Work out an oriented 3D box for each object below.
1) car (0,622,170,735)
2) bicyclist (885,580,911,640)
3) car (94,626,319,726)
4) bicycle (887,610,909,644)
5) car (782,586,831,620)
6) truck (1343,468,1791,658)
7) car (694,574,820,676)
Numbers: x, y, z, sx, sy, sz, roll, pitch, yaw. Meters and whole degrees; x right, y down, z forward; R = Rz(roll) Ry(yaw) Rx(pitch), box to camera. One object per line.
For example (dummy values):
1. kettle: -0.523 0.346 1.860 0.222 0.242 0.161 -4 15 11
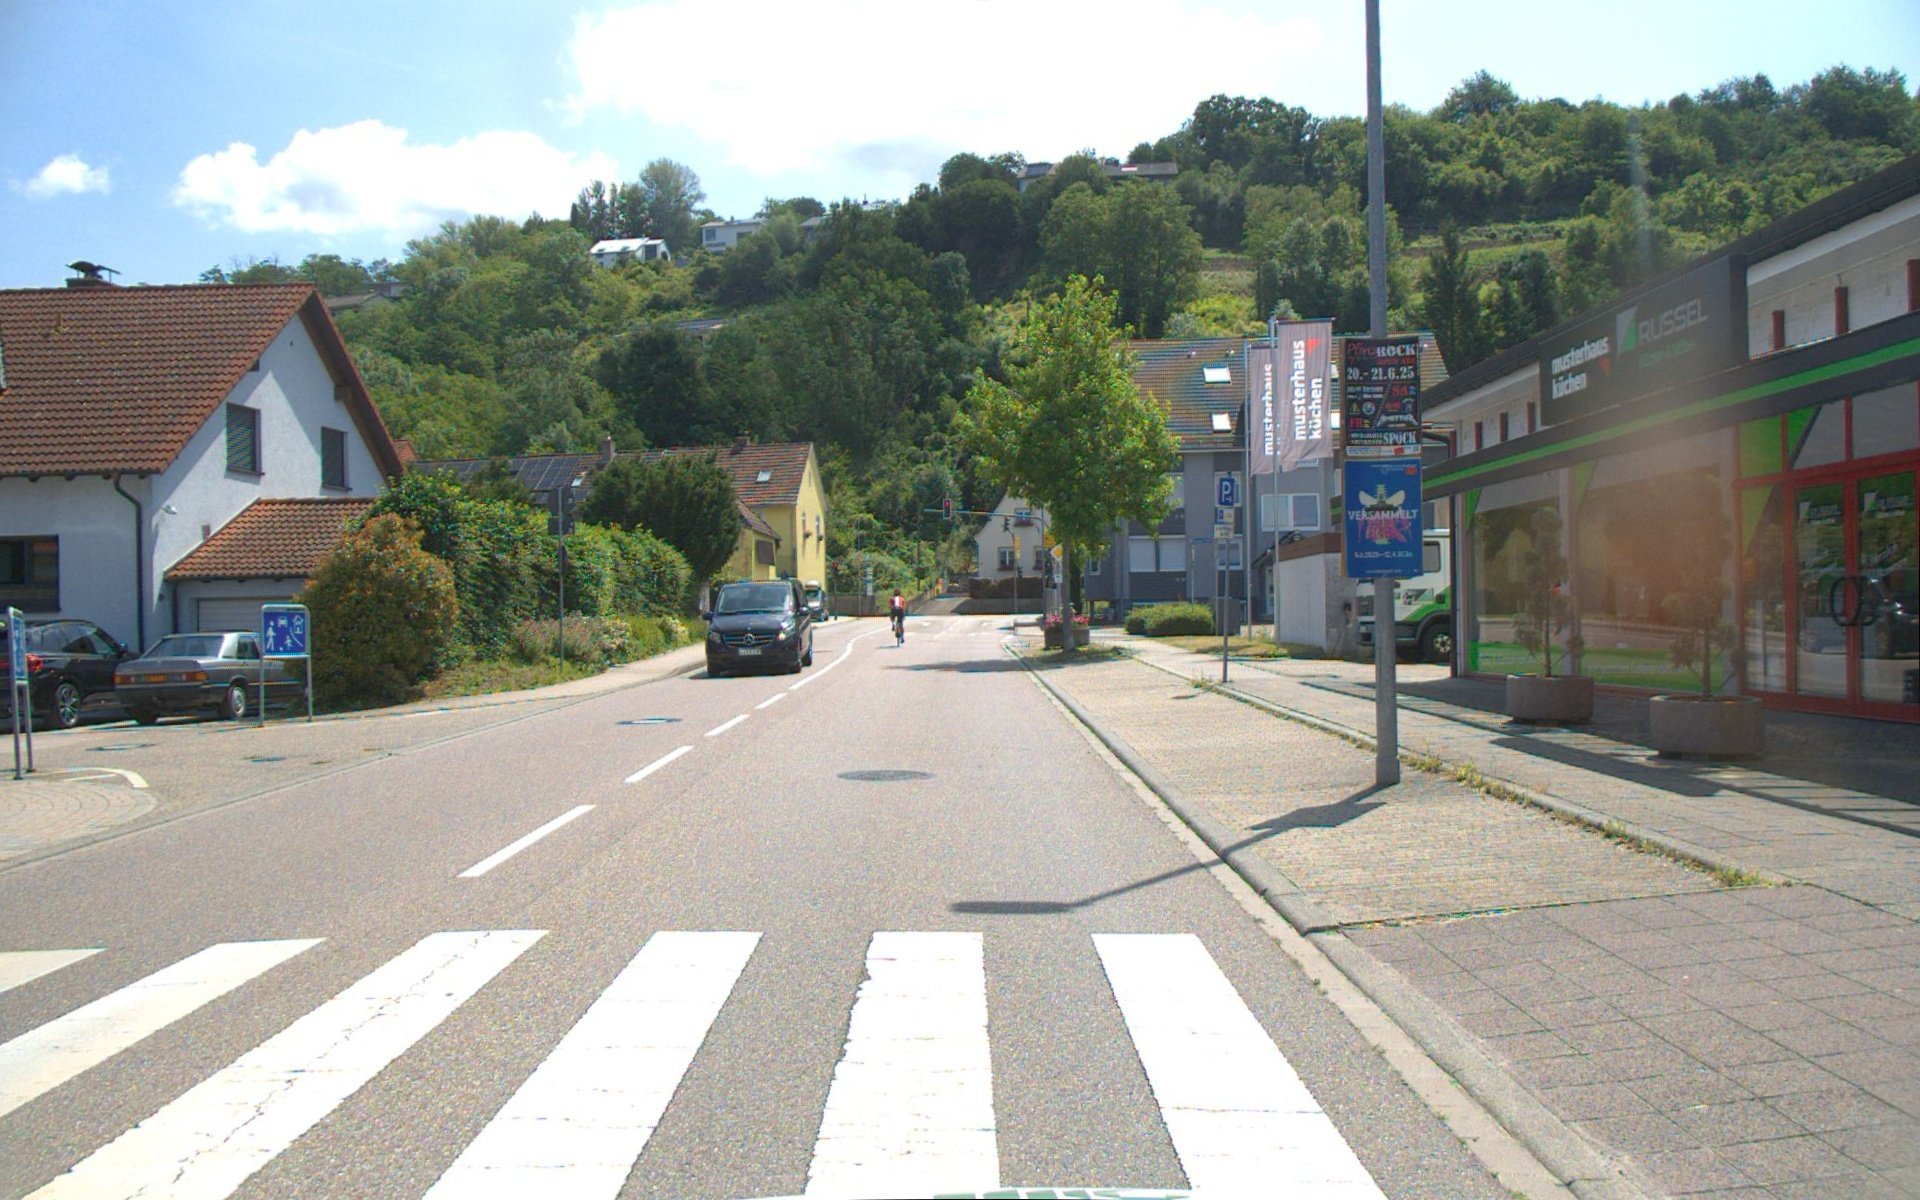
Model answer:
1. car: -14.473 1.214 26.444 1.730 1.577 3.999 -2 0 -1
2. bicyclist: -1.770 0.274 47.215 0.745 1.693 0.868 0 0 -3
3. car: -12.046 1.170 26.738 1.626 1.308 4.001 -3 0 2
4. bicycle: -1.778 0.757 47.257 0.617 0.920 1.656 0 0 -3
5. car: -7.902 0.132 85.677 1.952 1.664 4.631 1 0 2
6. truck: 12.027 -0.700 33.265 8.004 3.635 2.677 0 -1 -1
7. car: -4.127 0.476 34.450 1.953 1.884 5.069 -2 0 0
